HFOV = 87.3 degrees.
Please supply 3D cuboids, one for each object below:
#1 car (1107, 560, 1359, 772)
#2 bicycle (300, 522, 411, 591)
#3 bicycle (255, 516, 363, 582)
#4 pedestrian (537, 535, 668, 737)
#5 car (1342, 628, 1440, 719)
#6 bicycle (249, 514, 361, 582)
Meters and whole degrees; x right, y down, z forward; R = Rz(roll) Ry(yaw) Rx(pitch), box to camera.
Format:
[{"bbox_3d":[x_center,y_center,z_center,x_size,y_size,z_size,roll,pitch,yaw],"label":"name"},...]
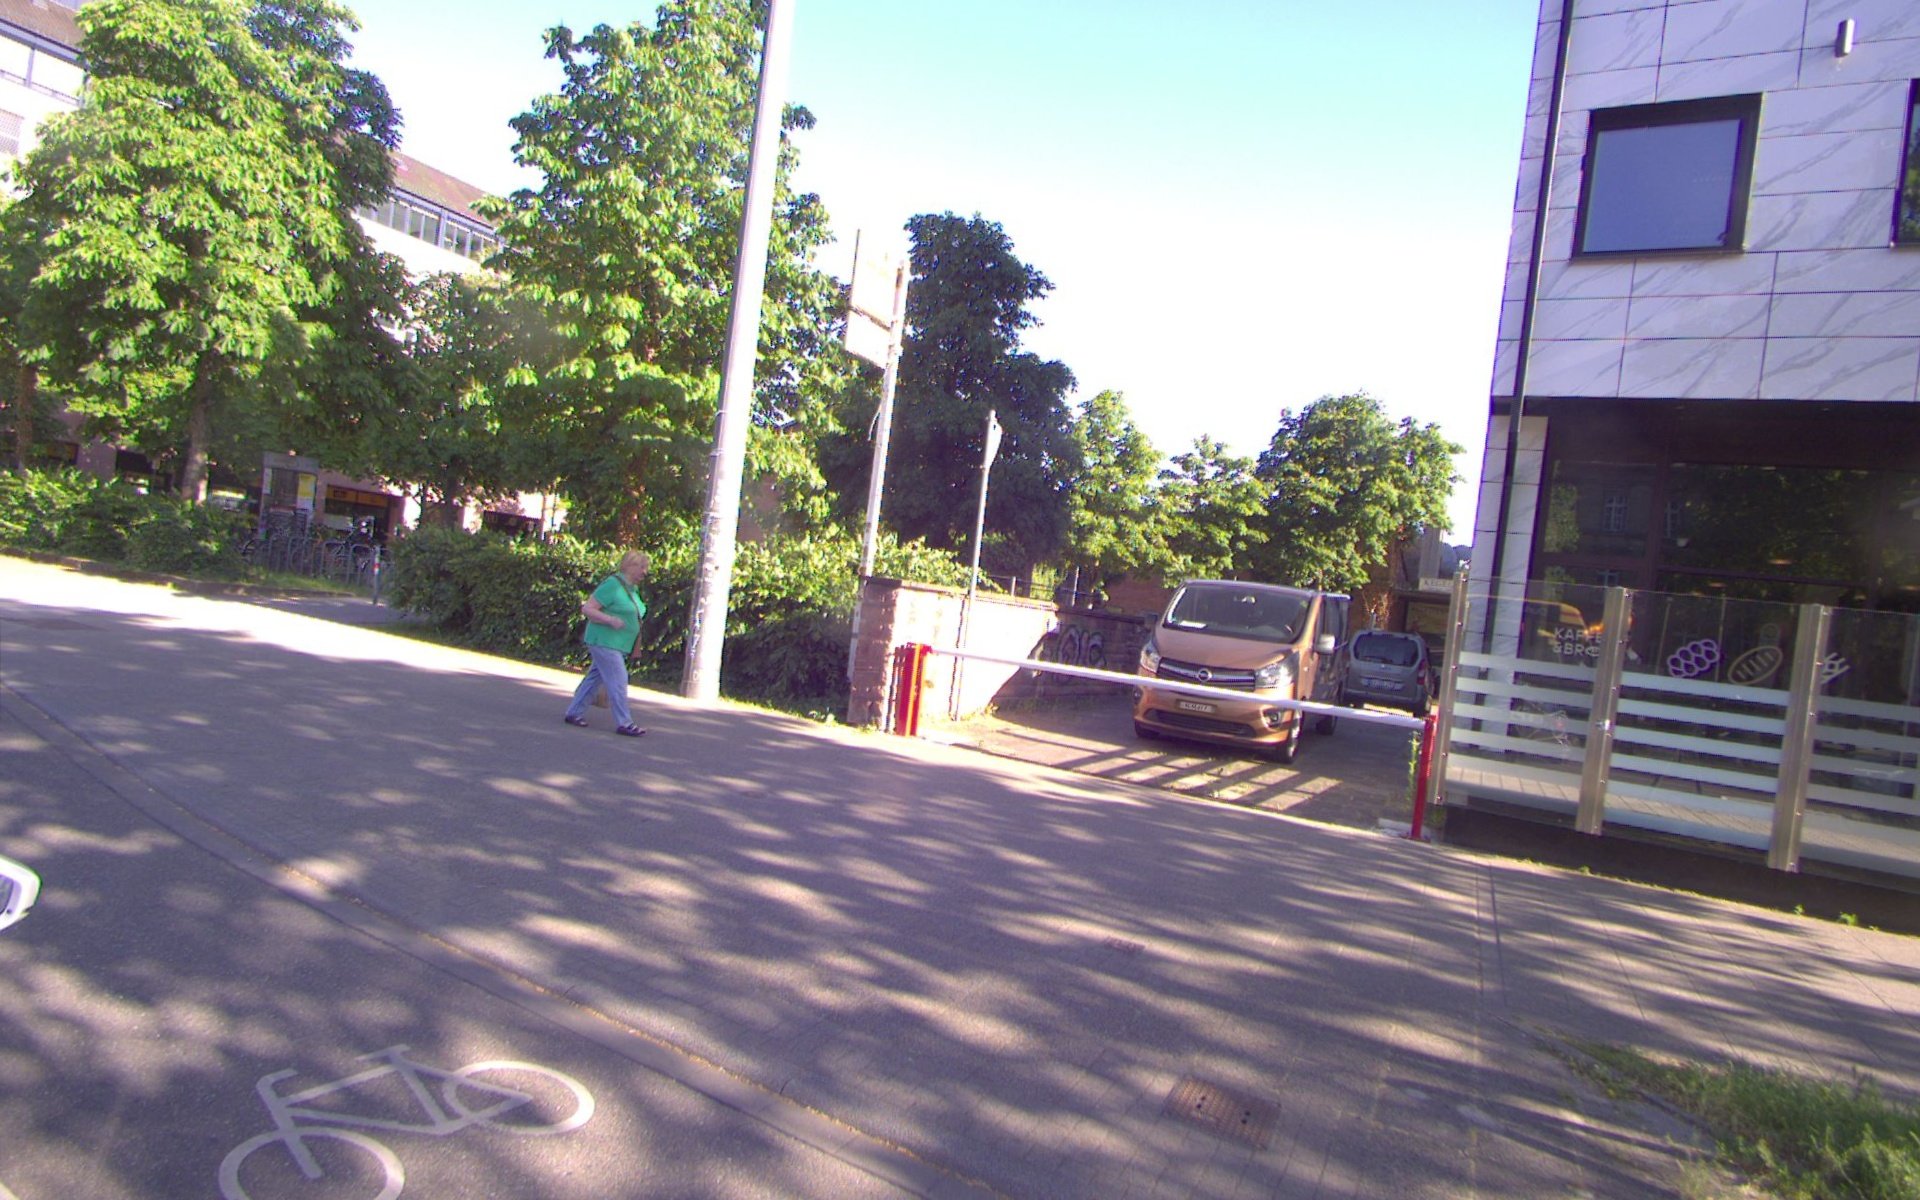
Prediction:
[{"bbox_3d":[3.696,0.718,12.849,1.880,2.011,4.901,7,2,28],"label":"car"},{"bbox_3d":[-13.376,-0.945,22.312,0.564,1.331,1.998,7,1,30],"label":"bicycle"},{"bbox_3d":[-15.093,-1.163,23.386,0.564,1.331,1.998,7,1,30],"label":"bicycle"},{"bbox_3d":[-3.058,0.303,8.678,0.818,1.595,0.737,6,1,-11],"label":"pedestrian"},{"bbox_3d":[9.738,1.618,22.599,1.567,1.692,3.616,7,0,28],"label":"car"},{"bbox_3d":[-14.766,-1.154,22.745,0.564,1.331,1.998,7,1,30],"label":"bicycle"}]
